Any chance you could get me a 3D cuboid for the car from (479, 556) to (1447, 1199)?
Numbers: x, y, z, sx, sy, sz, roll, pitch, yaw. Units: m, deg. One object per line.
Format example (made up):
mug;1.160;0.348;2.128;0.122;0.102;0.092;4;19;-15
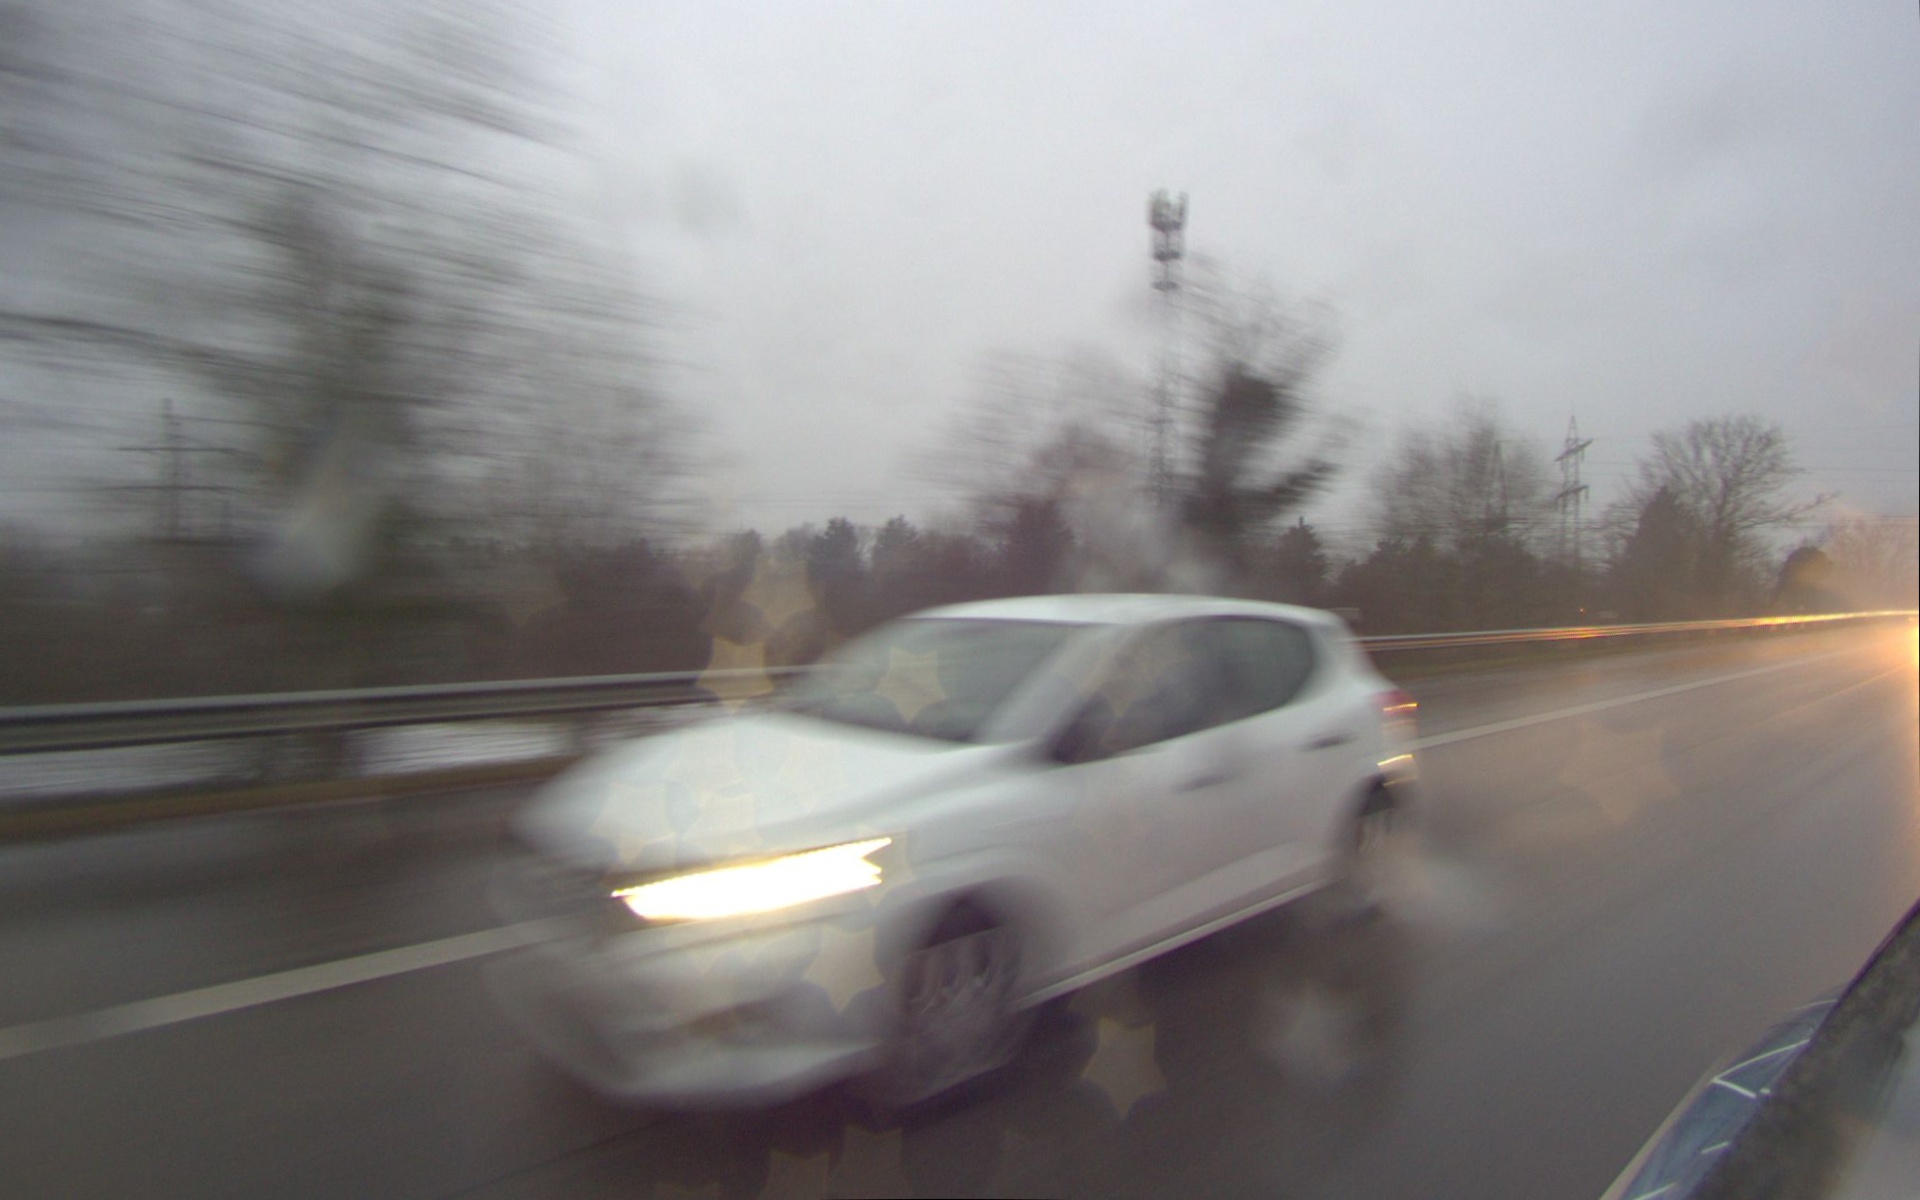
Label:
car;0.311;0.646;4.327;3.930;1.521;1.800;1;1;-42
